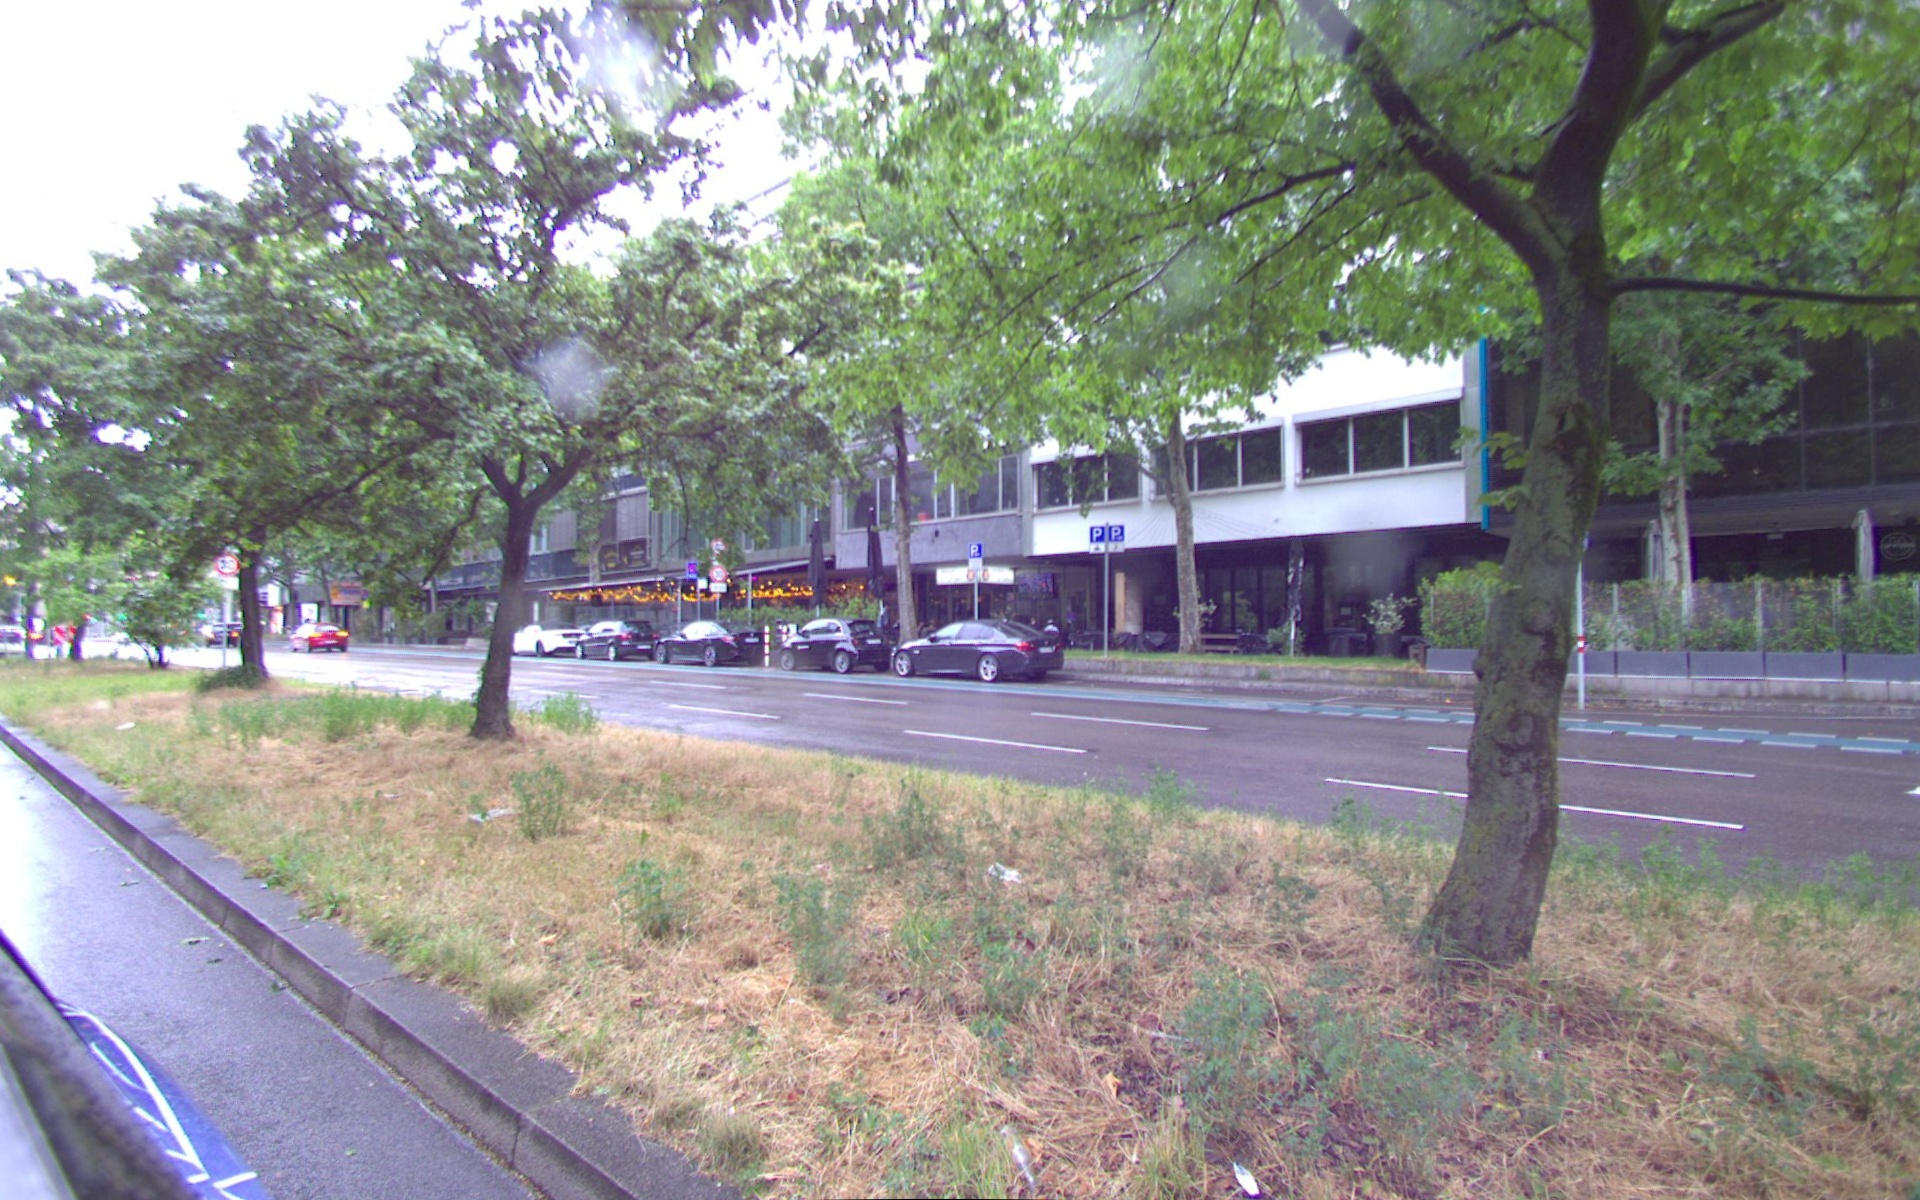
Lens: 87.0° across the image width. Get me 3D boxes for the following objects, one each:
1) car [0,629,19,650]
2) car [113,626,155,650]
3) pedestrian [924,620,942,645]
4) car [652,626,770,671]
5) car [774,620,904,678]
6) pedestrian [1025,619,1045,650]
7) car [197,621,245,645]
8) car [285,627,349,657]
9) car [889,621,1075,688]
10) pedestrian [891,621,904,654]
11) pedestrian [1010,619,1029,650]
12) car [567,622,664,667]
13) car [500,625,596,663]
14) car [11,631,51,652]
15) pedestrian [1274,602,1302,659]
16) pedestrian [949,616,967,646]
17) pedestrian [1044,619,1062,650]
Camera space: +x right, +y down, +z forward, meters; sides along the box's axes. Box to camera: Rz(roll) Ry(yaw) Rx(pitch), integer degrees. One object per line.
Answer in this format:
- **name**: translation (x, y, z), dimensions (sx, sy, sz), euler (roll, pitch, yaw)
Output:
- **car**: translation (-78.484, 3.233, 82.887), dimensions (3.820, 1.588, 1.856), euler (0, 0, 44)
- **car**: translation (-68.260, 3.077, 83.602), dimensions (3.997, 1.829, 1.973), euler (-1, 0, 41)
- **pedestrian**: translation (-0.973, 1.171, 36.452), dimensions (0.433, 0.856, 0.435), euler (-1, 0, 39)
- **car**: translation (-8.052, 1.503, 32.502), dimensions (4.319, 1.249, 1.625), euler (0, 0, 44)
- **car**: translation (-3.409, 1.317, 28.305), dimensions (3.400, 1.433, 1.851), euler (0, 0, 42)
- **pedestrian**: translation (2.458, 1.133, 33.131), dimensions (0.488, 1.008, 0.481), euler (-1, 0, 26)
- **car**: translation (-47.371, 2.092, 64.824), dimensions (4.106, 1.427, 1.843), euler (0, 0, 44)
- **car**: translation (-31.849, 2.039, 50.078), dimensions (3.737, 1.335, 1.742), euler (0, 0, 42)
- **car**: translation (0.450, 1.258, 24.736), dimensions (1.849, 1.396, 4.539), euler (-1, 0, -45)
- **pedestrian**: translation (-2.329, 1.378, 37.428), dimensions (0.460, 1.195, 0.446), euler (-1, 0, -4)
- **pedestrian**: translation (1.966, 1.134, 33.490), dimensions (0.461, 1.000, 0.455), euler (-1, 0, 26)
- **car**: translation (-12.465, 1.549, 36.557), dimensions (3.788, 1.464, 1.727), euler (0, 0, 42)
- **car**: translation (-16.499, 1.728, 40.396), dimensions (4.392, 1.336, 1.856), euler (0, 0, 42)
- **car**: translation (-67.395, 3.001, 73.392), dimensions (3.524, 1.400, 1.657), euler (-1, 0, 39)
- **pedestrian**: translation (9.717, 0.904, 30.009), dimensions (0.623, 1.660, 0.598), euler (-1, 0, 37)
- **pedestrian**: translation (-0.056, 1.086, 35.424), dimensions (0.423, 1.024, 0.459), euler (-1, 0, 39)
- **pedestrian**: translation (3.012, 1.117, 32.913), dimensions (0.451, 0.970, 0.454), euler (-1, 0, 26)
